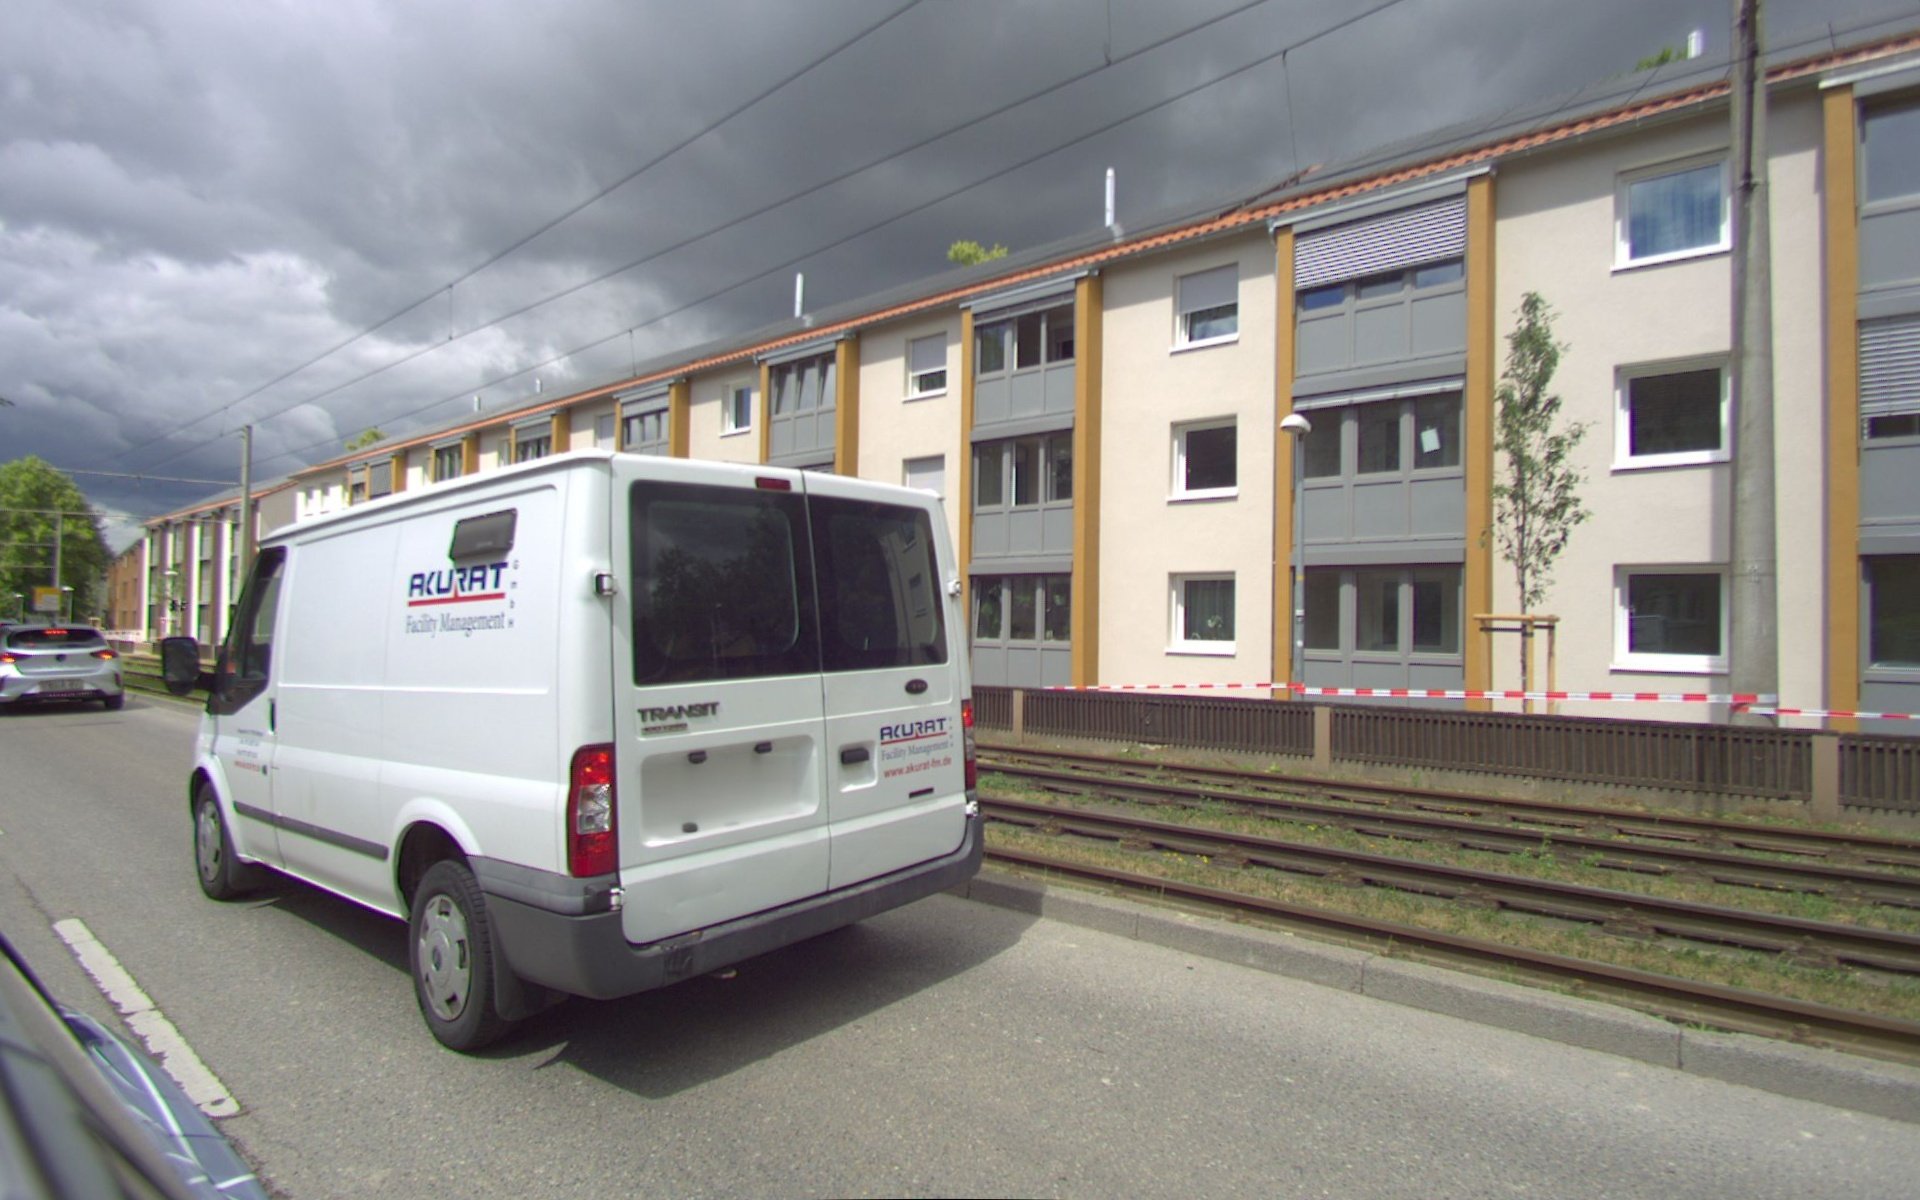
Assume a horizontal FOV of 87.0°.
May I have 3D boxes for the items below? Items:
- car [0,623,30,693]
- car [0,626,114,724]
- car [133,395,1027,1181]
[{"bbox_3d":[-22.678,1.318,23.160,3.677,1.533,1.644,-1,-1,41],"label":"car"},{"bbox_3d":[-15.558,1.188,17.012,3.647,1.424,1.592,-1,0,43],"label":"car"},{"bbox_3d":[-2.189,0.521,4.905,4.782,2.011,1.973,-1,-1,40],"label":"car"}]
